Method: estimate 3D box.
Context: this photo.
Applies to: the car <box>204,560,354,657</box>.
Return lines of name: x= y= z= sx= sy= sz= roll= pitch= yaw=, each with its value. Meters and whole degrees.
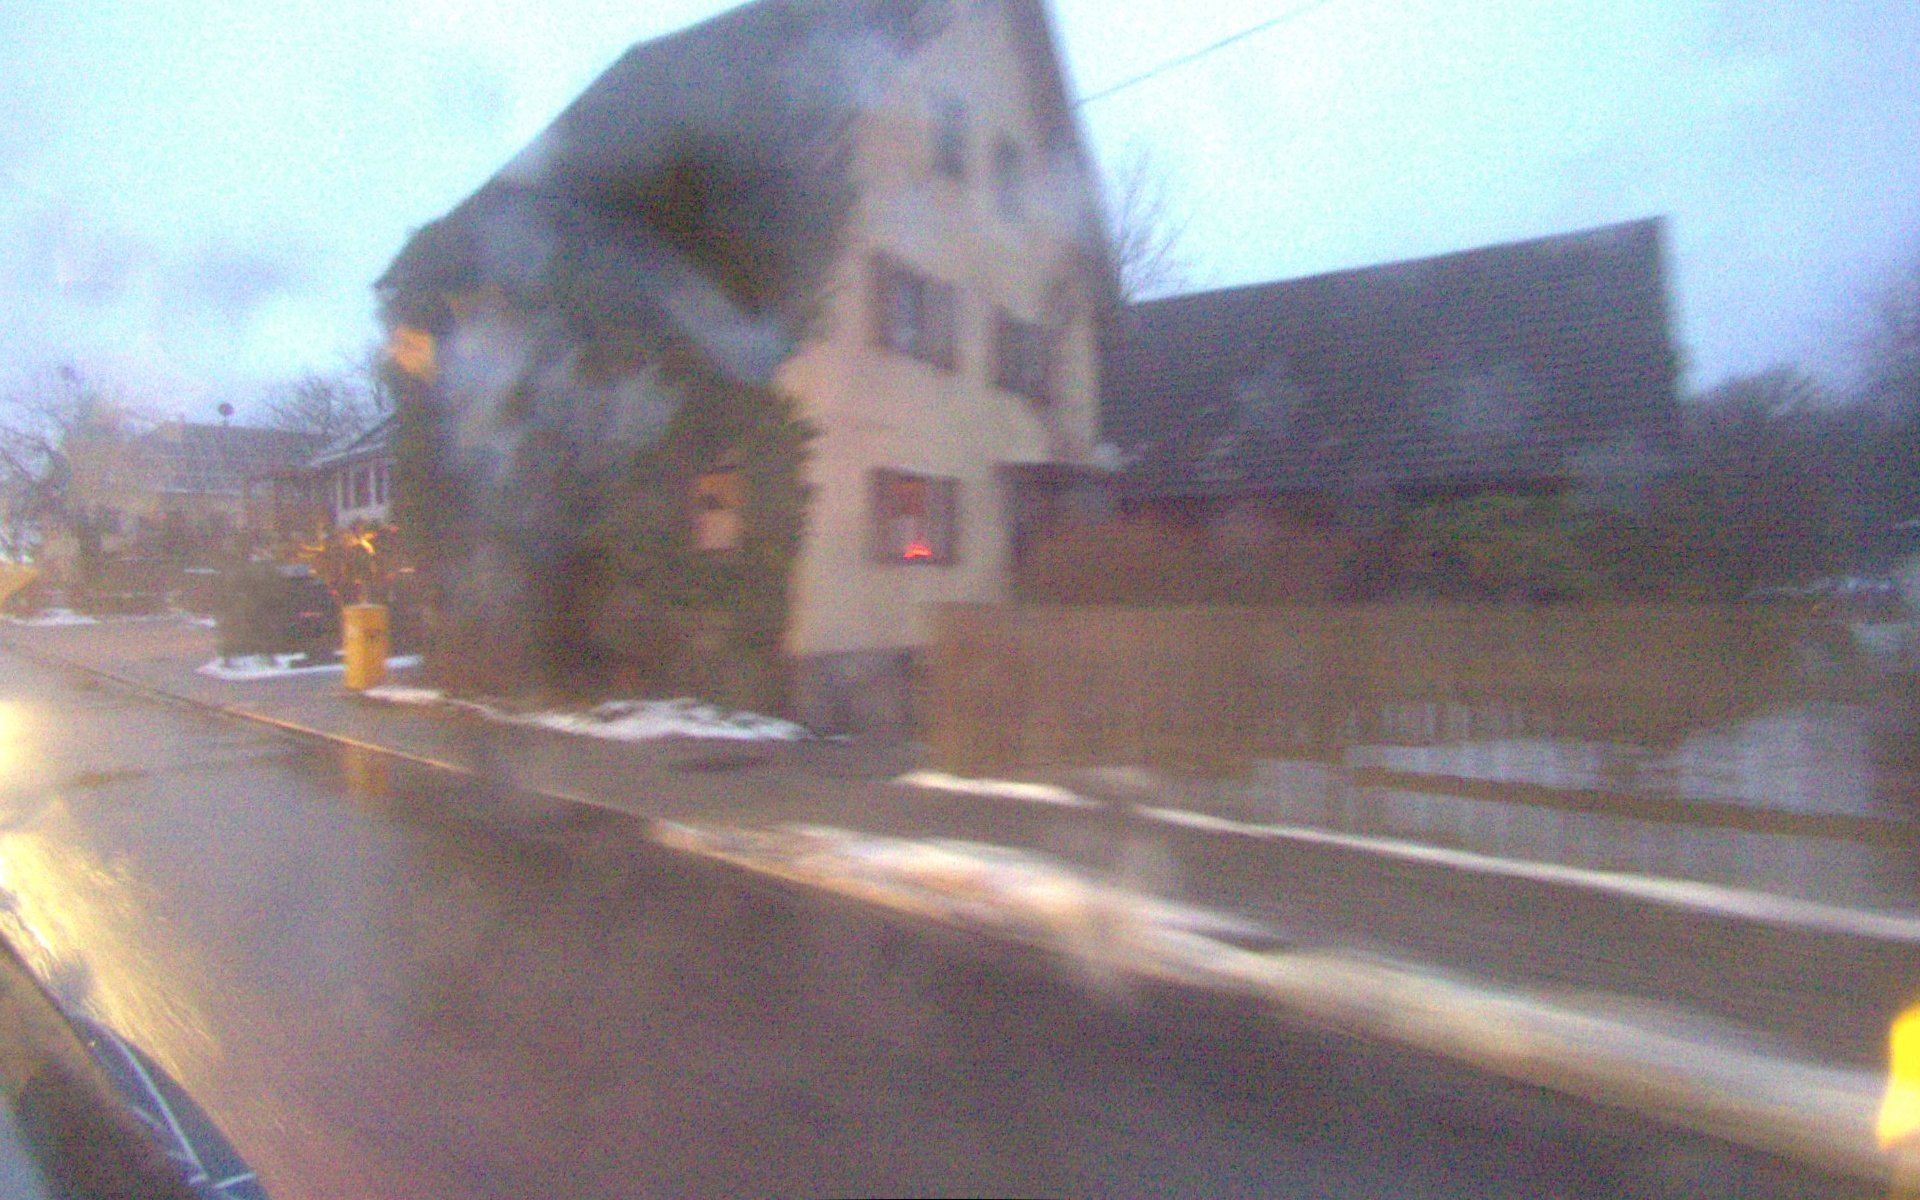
car: x=-16.609 y=0.153 z=24.623 sx=4.081 sy=2.051 sz=1.973 roll=0 pitch=5 yaw=42

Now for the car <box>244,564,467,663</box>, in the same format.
car: x=-13.434 y=0.242 z=22.654 sx=1.757 sy=2.029 sz=3.945 roll=0 pitch=1 yaw=41
